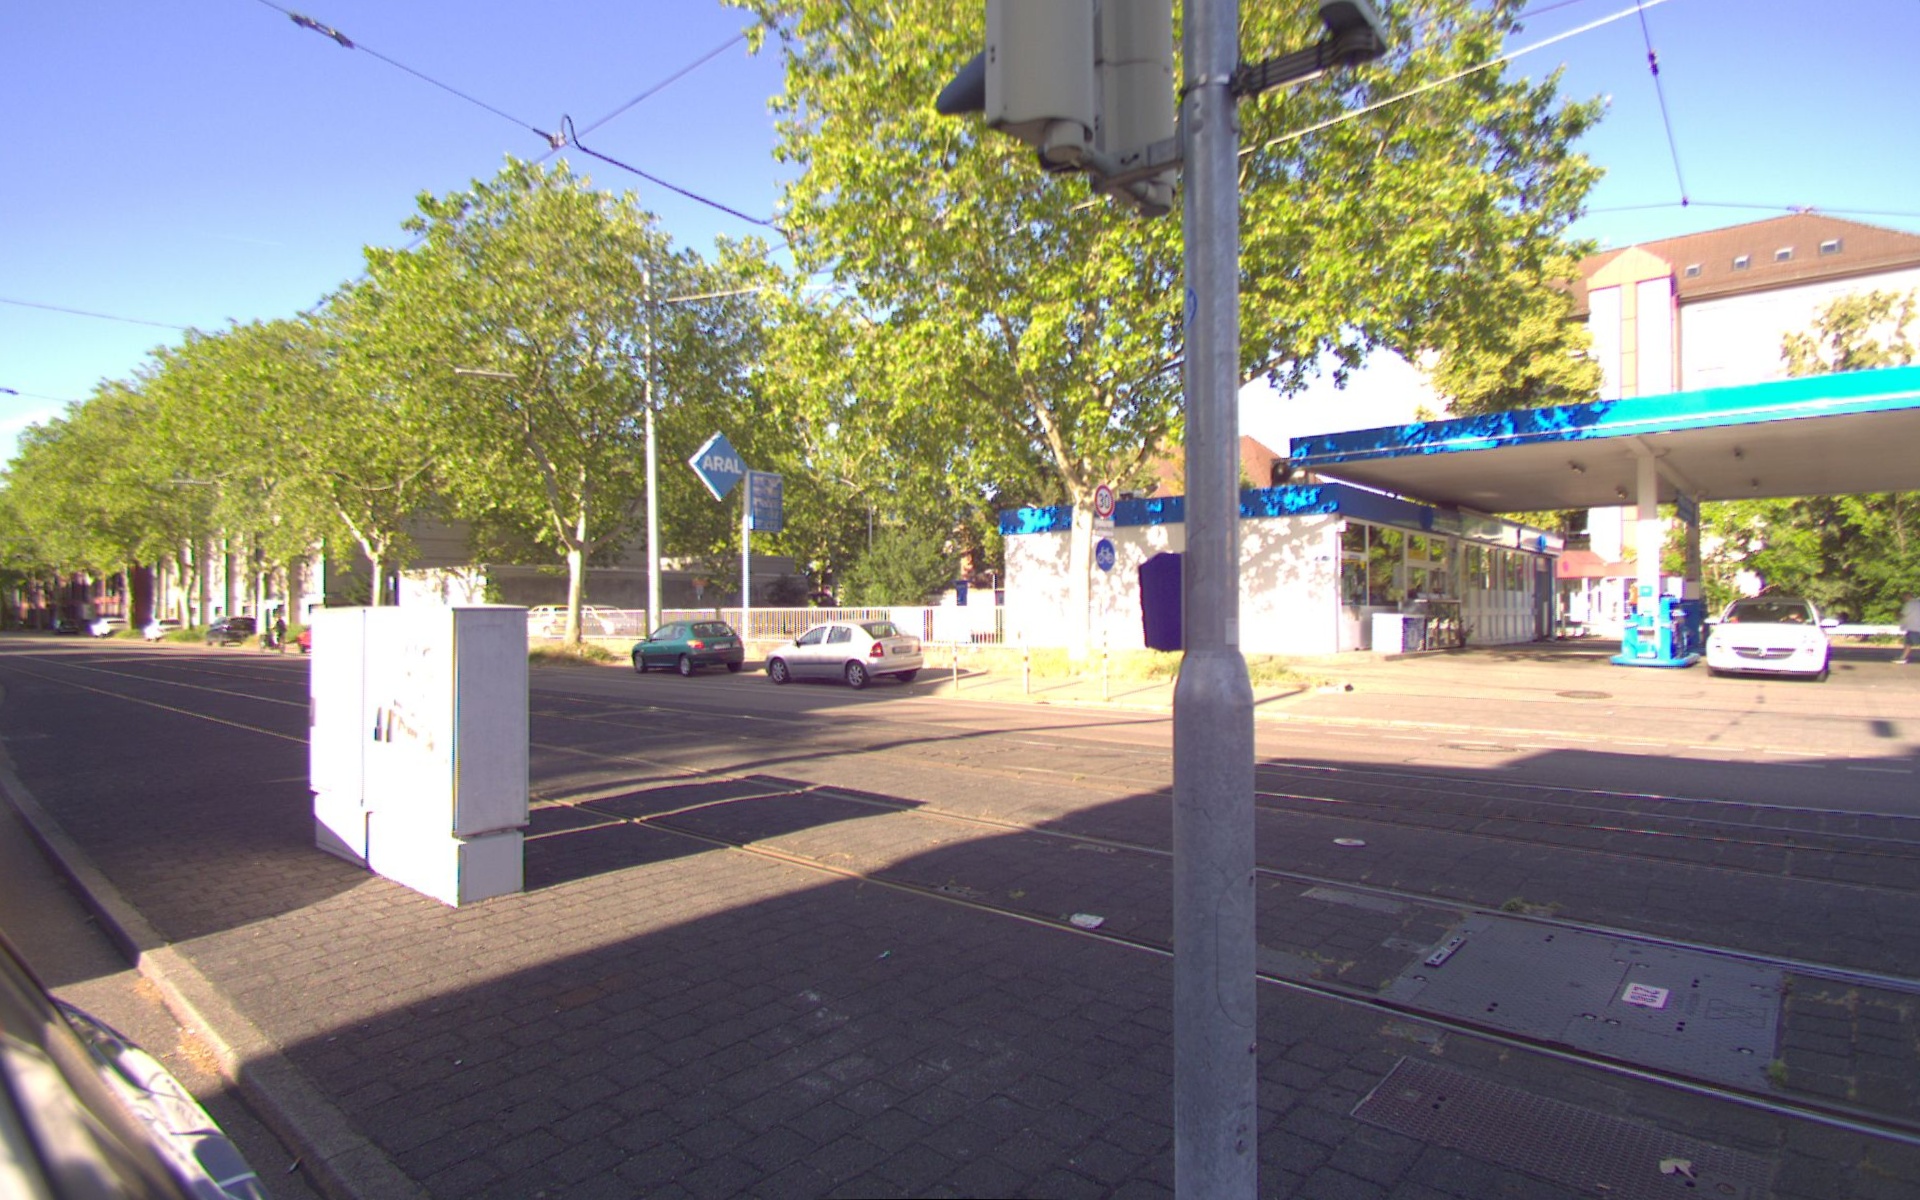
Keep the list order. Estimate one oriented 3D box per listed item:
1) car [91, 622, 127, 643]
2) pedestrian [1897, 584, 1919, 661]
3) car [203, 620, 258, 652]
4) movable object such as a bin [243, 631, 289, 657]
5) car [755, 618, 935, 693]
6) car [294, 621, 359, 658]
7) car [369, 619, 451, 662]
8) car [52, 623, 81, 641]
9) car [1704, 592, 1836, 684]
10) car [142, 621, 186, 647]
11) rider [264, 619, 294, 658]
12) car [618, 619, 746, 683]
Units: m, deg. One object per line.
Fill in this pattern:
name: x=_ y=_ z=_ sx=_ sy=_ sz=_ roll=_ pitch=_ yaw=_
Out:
car: x=-66.784 y=2.507 z=79.412 sx=3.731 sy=1.471 sz=1.639 roll=-1 pitch=2 yaw=43
pedestrian: x=21.826 y=0.517 z=22.908 sx=0.847 sy=1.715 sz=0.640 roll=-1 pitch=-3 yaw=40
car: x=-40.733 y=1.990 z=56.491 sx=3.878 sy=1.603 sz=1.731 roll=-1 pitch=2 yaw=43
movable object such as a bin: x=-30.737 y=1.934 z=44.810 sx=1.831 sy=1.111 sz=1.164 roll=-1 pitch=0 yaw=36
car: x=-2.625 y=1.189 z=22.599 sx=3.987 sy=1.376 sz=1.666 roll=-2 pitch=3 yaw=41
car: x=-28.791 y=1.767 z=45.990 sx=3.377 sy=1.506 sz=1.639 roll=-1 pitch=2 yaw=43
car: x=-21.743 y=1.563 z=39.980 sx=3.769 sy=1.455 sz=1.701 roll=-1 pitch=2 yaw=43
car: x=-85.032 y=3.019 z=96.332 sx=3.731 sy=1.471 sz=1.639 roll=-1 pitch=2 yaw=43
car: x=15.146 y=0.627 z=18.857 sx=1.743 sy=1.446 sz=3.882 roll=-1 pitch=1 yaw=41
car: x=-53.697 y=2.291 z=68.245 sx=3.878 sy=1.552 sz=1.731 roll=-1 pitch=2 yaw=43
rider: x=-29.655 y=1.655 z=44.069 sx=1.104 sy=1.660 sz=0.717 roll=-1 pitch=0 yaw=36
car: x=-7.433 y=1.301 z=26.909 sx=3.606 sy=1.455 sz=1.598 roll=-1 pitch=2 yaw=43
